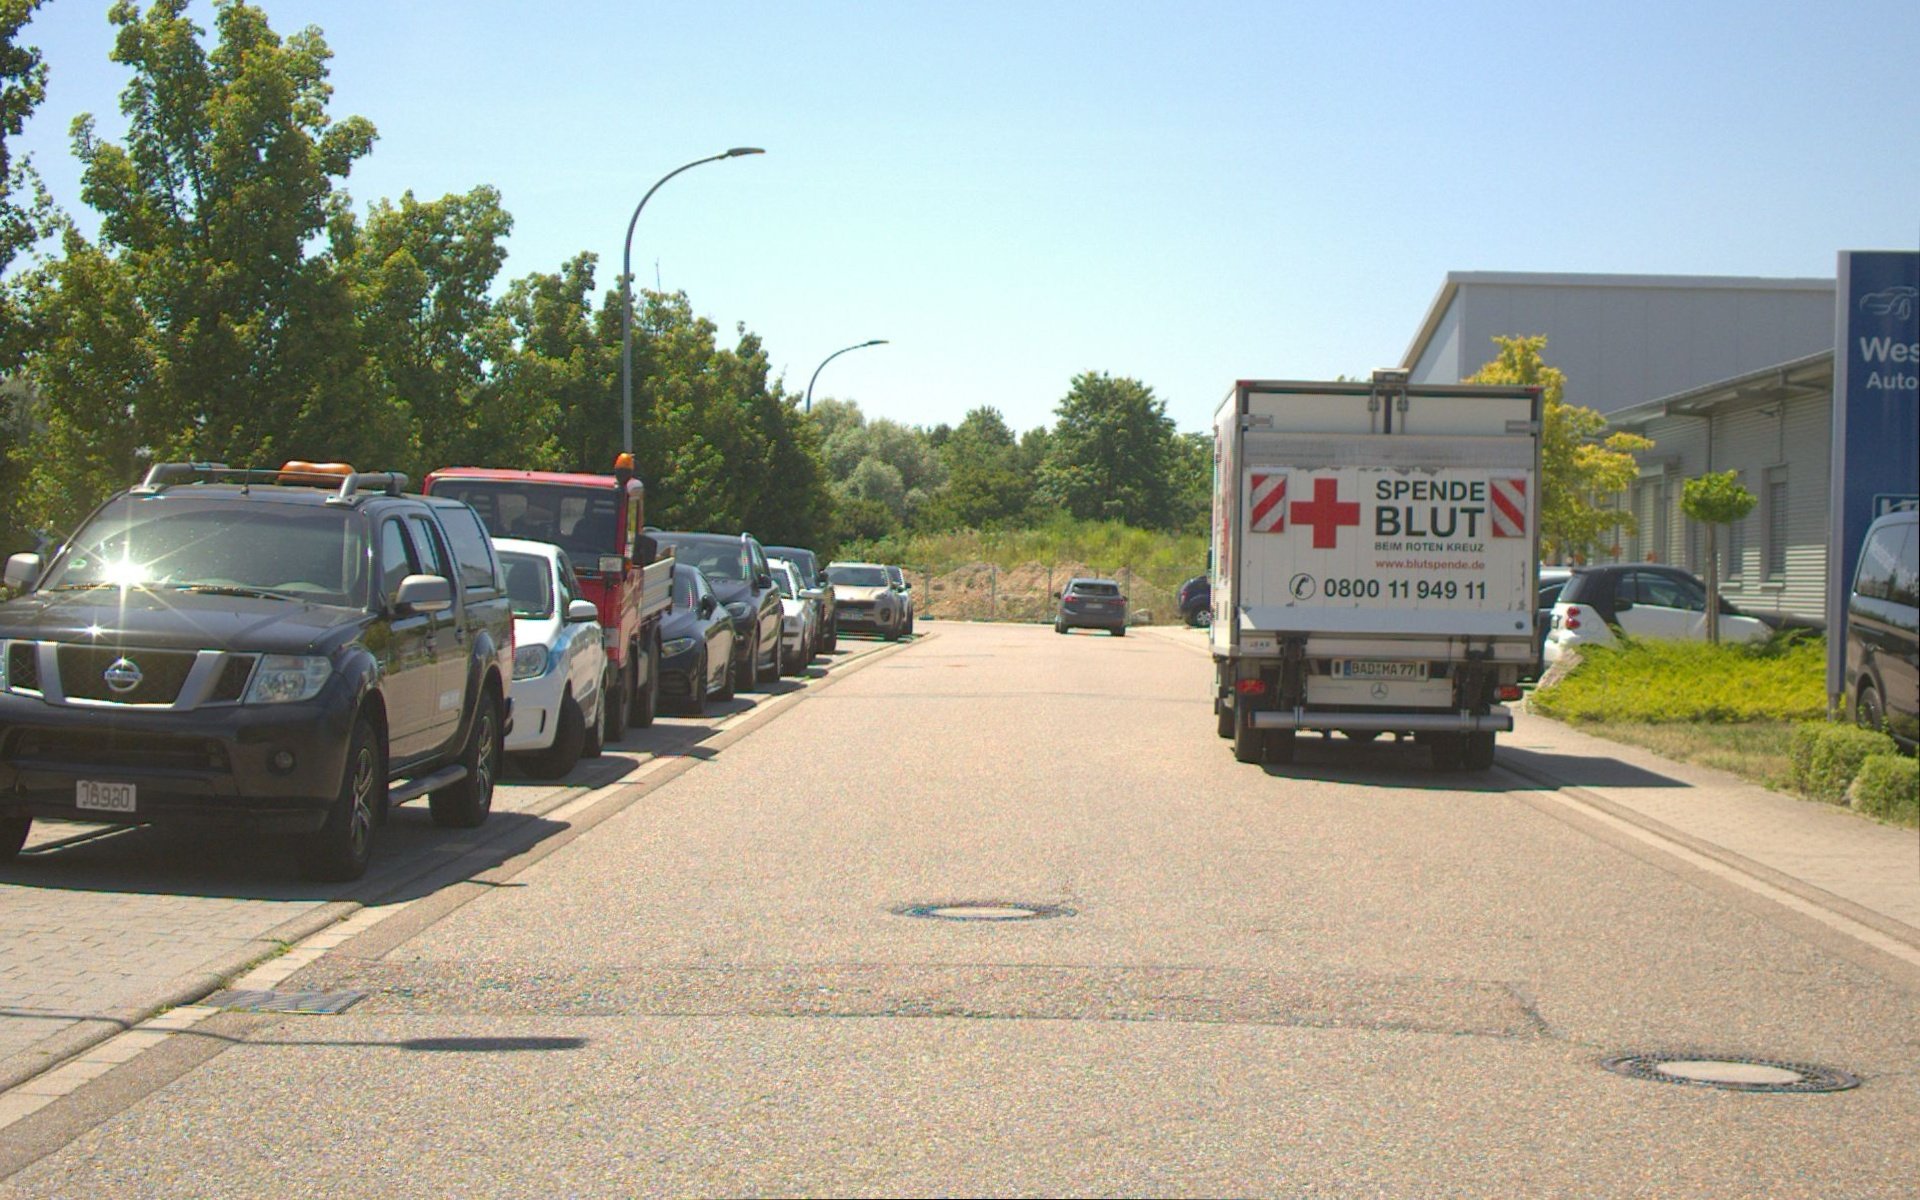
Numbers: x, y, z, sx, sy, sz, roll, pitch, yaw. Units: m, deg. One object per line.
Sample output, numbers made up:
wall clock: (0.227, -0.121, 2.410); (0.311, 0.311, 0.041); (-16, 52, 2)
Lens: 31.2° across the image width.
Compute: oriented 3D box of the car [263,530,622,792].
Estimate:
car: (-3.412, 0.362, 23.325); (1.851, 1.545, 3.767); (3, 1, -1)

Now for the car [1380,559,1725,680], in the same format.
car: (7.786, 0.247, 45.460); (4.280, 1.536, 1.913); (0, 0, 3)

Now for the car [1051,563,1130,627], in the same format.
car: (3.619, -0.151, 95.962); (1.912, 1.707, 4.031); (1, 1, -1)

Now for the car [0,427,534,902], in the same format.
car: (-3.516, 0.226, 16.925); (1.974, 1.894, 5.402); (3, 1, 1)

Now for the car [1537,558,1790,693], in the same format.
car: (8.221, 0.291, 40.322); (2.706, 1.536, 1.412); (0, 0, 3)

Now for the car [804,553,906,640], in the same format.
car: (-2.211, -0.098, 73.749); (1.912, 1.707, 4.413); (3, 1, 1)

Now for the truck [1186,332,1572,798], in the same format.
truck: (3.191, -0.295, 27.812); (2.457, 3.194, 6.882); (3, 1, 3)

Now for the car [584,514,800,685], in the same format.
car: (-3.005, -0.029, 39.491); (1.851, 1.752, 4.986); (3, 1, 2)

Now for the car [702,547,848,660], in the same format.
car: (-3.051, 0.027, 57.627); (1.991, 1.707, 5.007); (3, 1, 1)

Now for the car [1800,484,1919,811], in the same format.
car: (6.920, 0.297, 21.812); (1.993, 2.007, 5.336); (1, 1, 2)

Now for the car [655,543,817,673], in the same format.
car: (-2.866, 0.066, 44.908); (1.851, 1.514, 4.905); (3, 1, -1)

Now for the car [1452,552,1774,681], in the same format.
car: (8.097, 0.192, 42.884); (3.692, 1.536, 1.913); (0, 0, 3)

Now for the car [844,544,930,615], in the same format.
car: (-1.769, -0.527, 85.116); (1.912, 1.650, 4.754); (1, 1, 1)

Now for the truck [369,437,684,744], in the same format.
truck: (-3.436, -0.095, 28.080); (1.851, 2.215, 4.646); (3, 1, 0)

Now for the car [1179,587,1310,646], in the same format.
car: (9.164, 0.526, 110.963); (4.010, 1.650, 1.858); (-3, 0, 1)

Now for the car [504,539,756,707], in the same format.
car: (-3.139, 0.183, 33.625); (1.851, 1.438, 4.753); (3, 1, 1)

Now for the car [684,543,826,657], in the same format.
car: (-2.990, -0.030, 51.012); (1.851, 1.514, 5.167); (3, 1, -1)
